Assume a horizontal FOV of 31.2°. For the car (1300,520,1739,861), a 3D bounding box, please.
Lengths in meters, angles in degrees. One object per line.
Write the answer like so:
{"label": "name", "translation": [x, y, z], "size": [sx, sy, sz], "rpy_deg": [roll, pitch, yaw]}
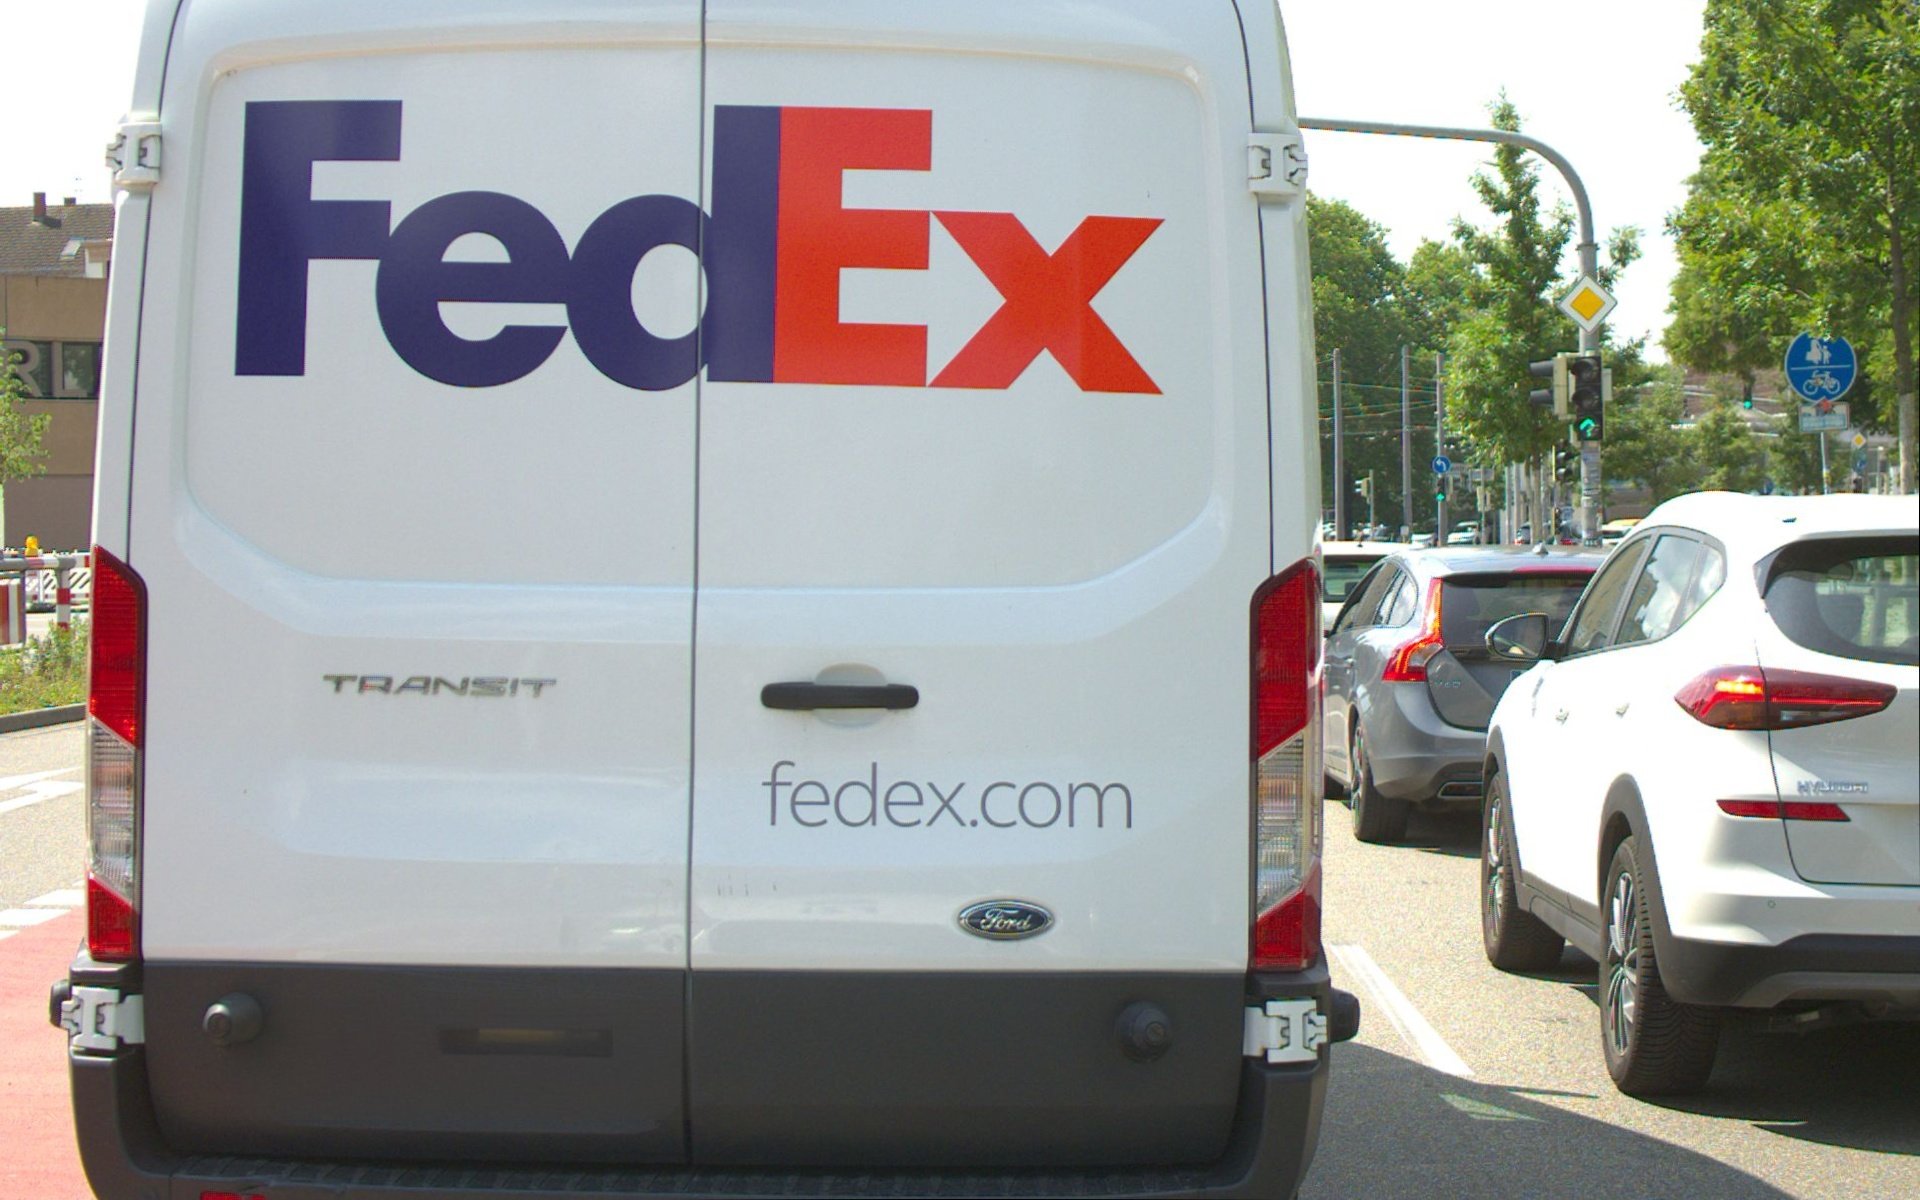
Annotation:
{"label": "car", "translation": [2.749, 0.374, 17.607], "size": [1.691, 1.543, 3.720], "rpy_deg": [0, 1, 1]}

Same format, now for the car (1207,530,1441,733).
{"label": "car", "translation": [2.783, 0.195, 26.845], "size": [1.499, 1.459, 3.474], "rpy_deg": [0, 1, 1]}

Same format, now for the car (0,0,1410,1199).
{"label": "car", "translation": [-0.352, 0.069, 7.214], "size": [2.072, 2.572, 4.428], "rpy_deg": [0, 1, 1]}

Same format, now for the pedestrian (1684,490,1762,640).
{"label": "pedestrian", "translation": [9.477, -0.443, 42.738], "size": [0.758, 1.843, 0.816], "rpy_deg": [-1, 1, -2]}

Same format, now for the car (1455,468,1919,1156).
{"label": "car", "translation": [2.657, 0.462, 10.337], "size": [1.814, 1.673, 3.974], "rpy_deg": [0, 1, 1]}

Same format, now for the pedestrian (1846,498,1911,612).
{"label": "pedestrian", "translation": [15.042, -0.739, 56.338], "size": [0.758, 1.843, 0.816], "rpy_deg": [-1, 1, -8]}

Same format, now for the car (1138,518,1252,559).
{"label": "car", "translation": [9.747, -2.569, 142.949], "size": [4.469, 1.642, 1.893], "rpy_deg": [1, 1, 40]}

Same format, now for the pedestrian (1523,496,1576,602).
{"label": "pedestrian", "translation": [10.273, -0.891, 59.893], "size": [0.813, 1.843, 0.761], "rpy_deg": [0, 1, 3]}

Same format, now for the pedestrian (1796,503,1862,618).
{"label": "pedestrian", "translation": [14.155, -0.654, 56.021], "size": [0.758, 1.843, 0.816], "rpy_deg": [-1, 1, -10]}

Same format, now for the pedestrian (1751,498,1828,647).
{"label": "pedestrian", "translation": [10.386, -0.349, 43.082], "size": [0.759, 1.843, 0.816], "rpy_deg": [-1, 1, 0]}

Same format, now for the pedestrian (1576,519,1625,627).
{"label": "pedestrian", "translation": [11.004, -0.470, 59.052], "size": [0.759, 1.843, 0.816], "rpy_deg": [0, 1, 15]}
